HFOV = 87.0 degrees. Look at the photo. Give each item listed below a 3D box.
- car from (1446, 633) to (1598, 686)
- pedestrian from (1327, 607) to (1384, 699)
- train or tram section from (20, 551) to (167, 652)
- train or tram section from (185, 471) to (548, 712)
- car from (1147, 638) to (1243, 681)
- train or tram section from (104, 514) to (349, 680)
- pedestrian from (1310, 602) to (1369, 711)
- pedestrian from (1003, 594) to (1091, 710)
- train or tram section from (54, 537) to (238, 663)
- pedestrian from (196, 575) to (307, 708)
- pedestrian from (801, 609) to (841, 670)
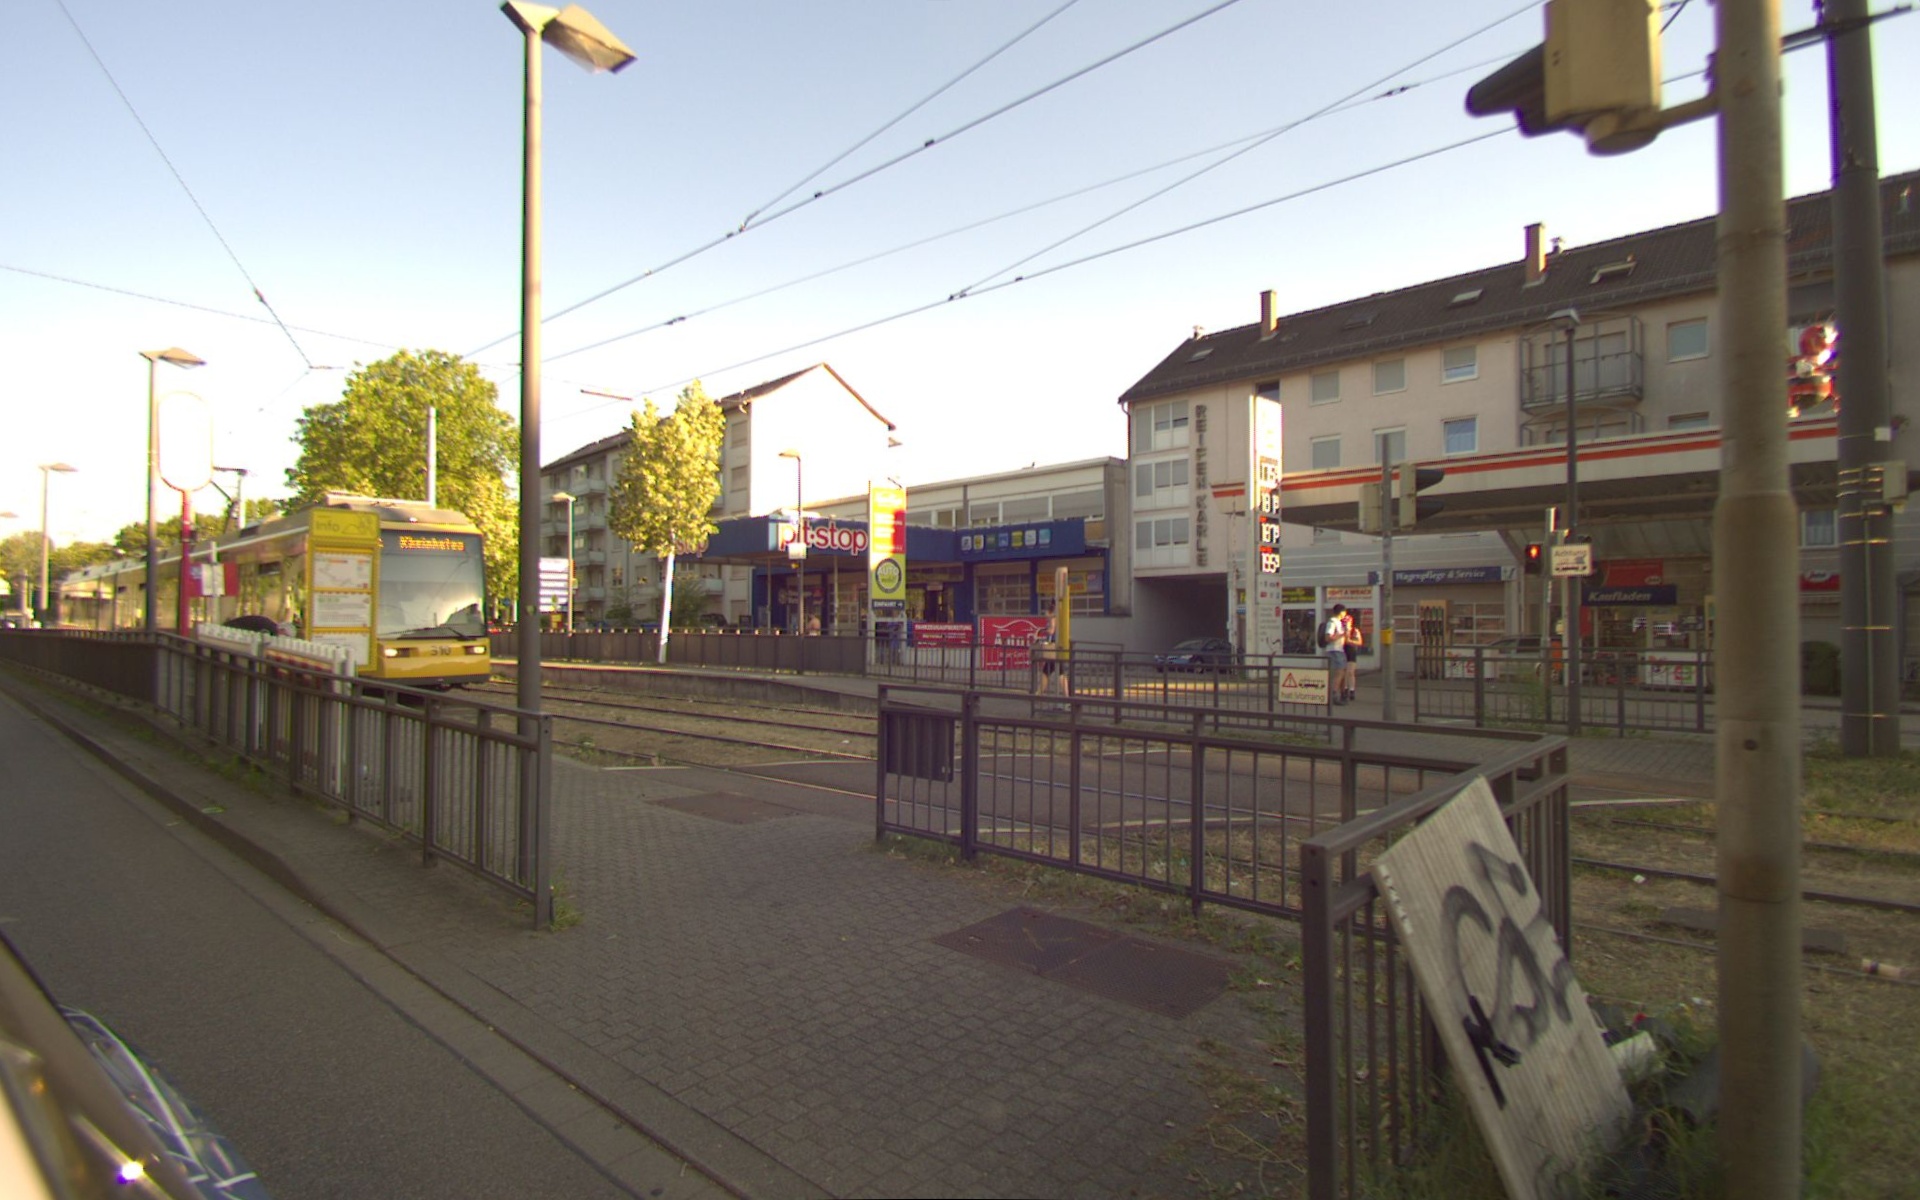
[{"bbox_3d":[17.527,1.814,31.653,3.829,1.535,1.792,-1,-2,43],"label":"car"},{"bbox_3d":[7.814,1.029,20.001,0.860,1.760,0.745,-1,-2,40],"label":"pedestrian"},{"bbox_3d":[-34.205,0.149,39.784,10.094,3.544,3.003,-1,-3,42],"label":"train or tram section"},{"bbox_3d":[-11.778,-0.033,19.423,10.094,3.544,3.003,-1,-3,42],"label":"train or tram section"},{"bbox_3d":[8.990,2.219,38.561,3.750,1.535,1.819,2,-2,-44],"label":"car"},{"bbox_3d":[-19.258,0.030,26.213,10.094,3.544,3.003,-1,-3,42],"label":"train or tram section"},{"bbox_3d":[7.001,1.025,18.669,0.755,1.947,0.849,-1,-2,40],"label":"pedestrian"},{"bbox_3d":[1.323,0.757,15.353,0.926,1.666,0.924,-2,0,43],"label":"pedestrian"},{"bbox_3d":[-26.742,0.096,32.990,10.094,3.544,3.003,-1,-3,42],"label":"train or tram section"},{"bbox_3d":[-8.746,0.493,12.504,0.787,1.562,0.908,-1,-1,35],"label":"pedestrian"},{"bbox_3d":[-4.480,1.272,32.556,1.000,1.896,0.745,-1,0,42],"label":"pedestrian"}]
